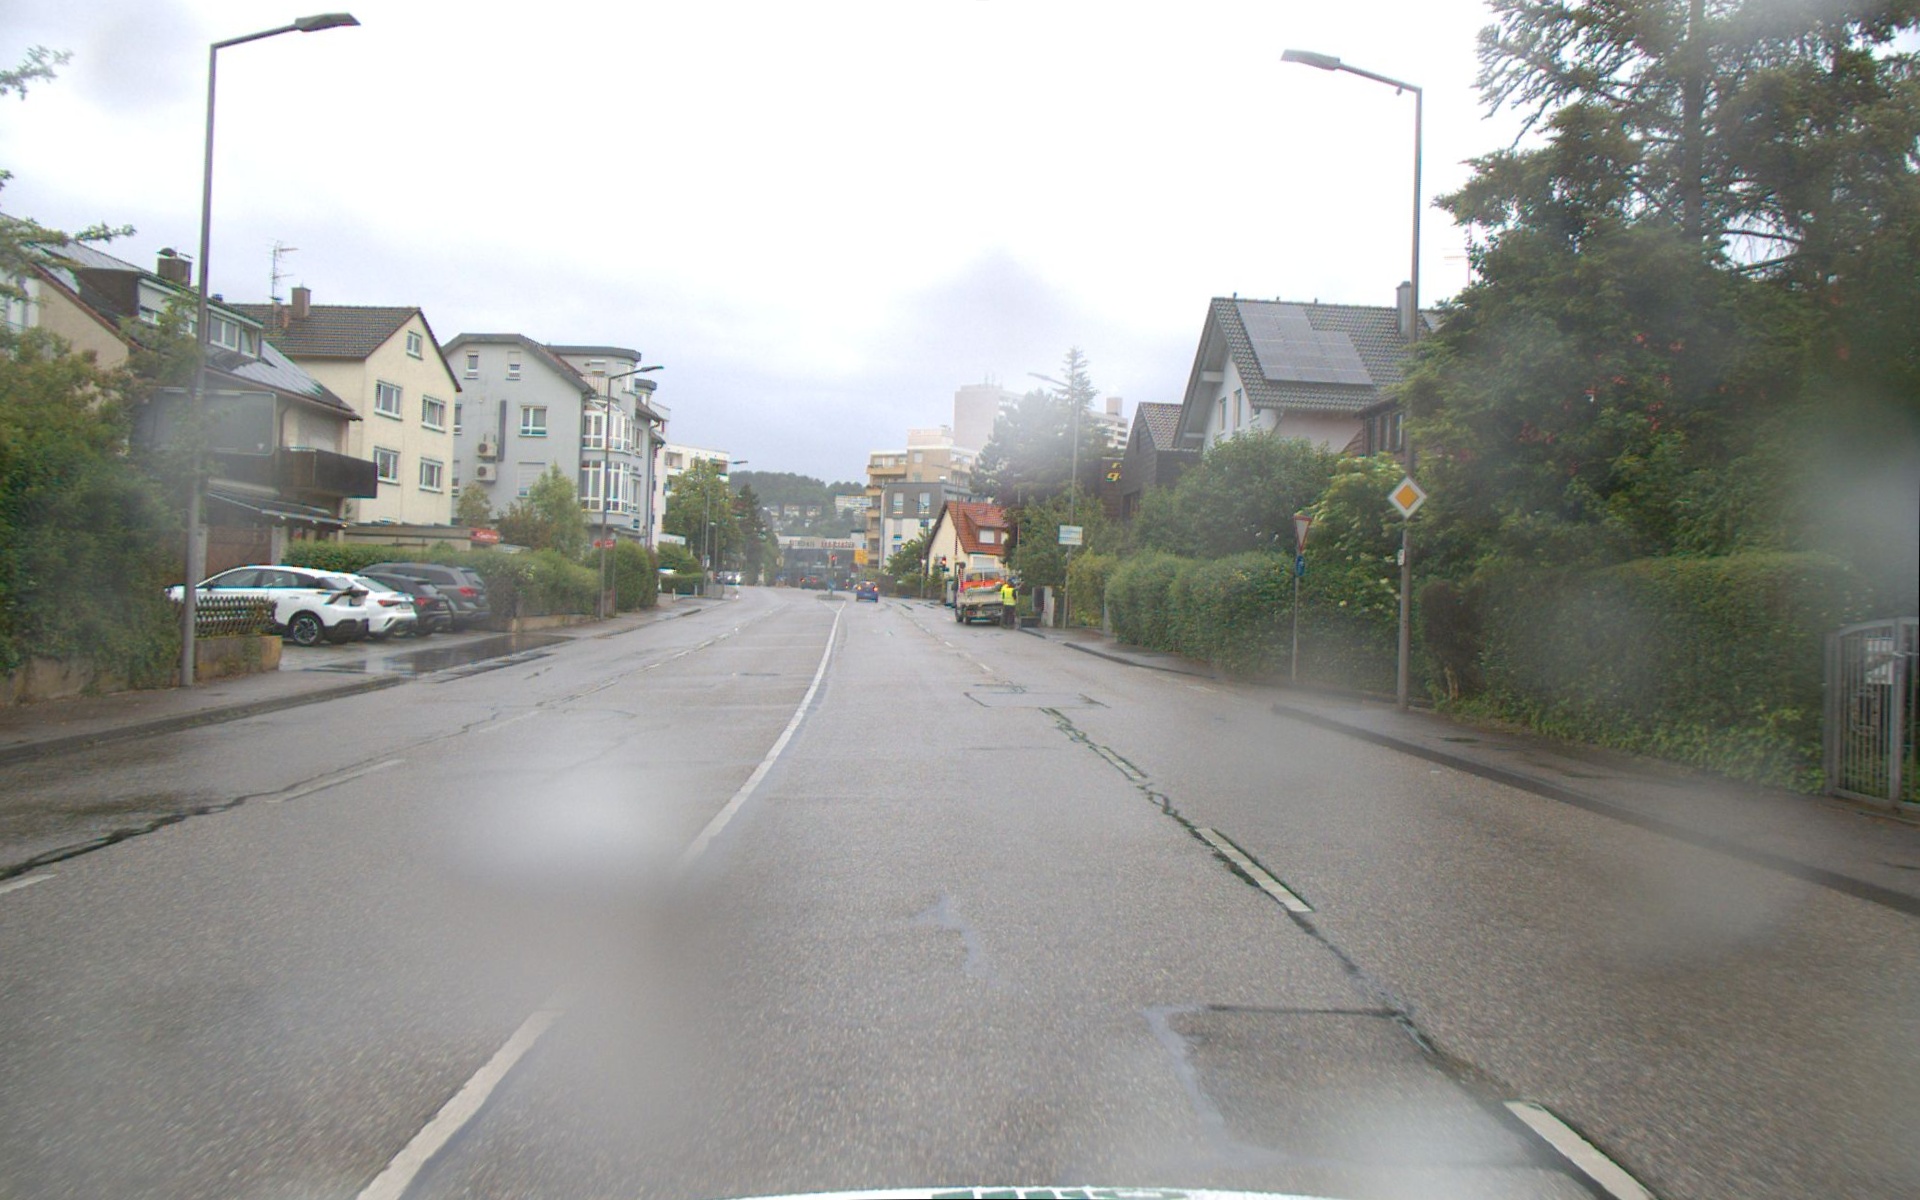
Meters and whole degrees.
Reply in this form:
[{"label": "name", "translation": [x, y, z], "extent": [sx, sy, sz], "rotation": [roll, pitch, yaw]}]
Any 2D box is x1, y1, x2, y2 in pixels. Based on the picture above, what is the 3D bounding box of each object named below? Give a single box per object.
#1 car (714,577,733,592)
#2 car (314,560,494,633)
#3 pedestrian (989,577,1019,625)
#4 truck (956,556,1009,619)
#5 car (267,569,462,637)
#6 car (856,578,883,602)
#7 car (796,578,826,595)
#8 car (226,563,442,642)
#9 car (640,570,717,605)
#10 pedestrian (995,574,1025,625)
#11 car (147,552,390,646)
[{"label": "car", "translation": [-25.245, -1.667, 176.769], "extent": [1.627, 1.488, 3.997], "rotation": [4, -1, -3]}, {"label": "car", "translation": [-14.106, -0.084, 42.109], "extent": [3.902, 1.716, 1.810], "rotation": [1, 0, 6]}, {"label": "pedestrian", "translation": [1.627, 0.032, 61.173], "extent": [0.811, 1.756, 0.836], "rotation": [1, 0, -21]}, {"label": "truck", "translation": [0.880, -0.473, 64.887], "extent": [1.952, 2.344, 4.000], "rotation": [2, 0, 0]}, {"label": "car", "translation": [-13.899, 0.075, 38.715], "extent": [3.903, 1.471, 1.706], "rotation": [1, 0, 4]}, {"label": "car", "translation": [-6.565, -0.694, 120.250], "extent": [1.758, 1.699, 3.999], "rotation": [1, 0, -2]}, {"label": "car", "translation": [-15.363, -1.408, 170.428], "extent": [1.546, 1.462, 4.002], "rotation": [6, -1, 16]}, {"label": "car", "translation": [-13.709, 0.051, 36.356], "extent": [3.904, 1.459, 1.972], "rotation": [3, 0, 3]}, {"label": "car", "translation": [-18.433, -0.800, 108.461], "extent": [4.426, 2.048, 2.002], "rotation": [3, 0, 11]}, {"label": "pedestrian", "translation": [1.812, -0.036, 60.398], "extent": [0.811, 1.828, 0.795], "rotation": [1, 0, -21]}, {"label": "car", "translation": [-13.990, -0.013, 33.629], "extent": [4.014, 1.612, 1.957], "rotation": [3, 0, 1]}]
